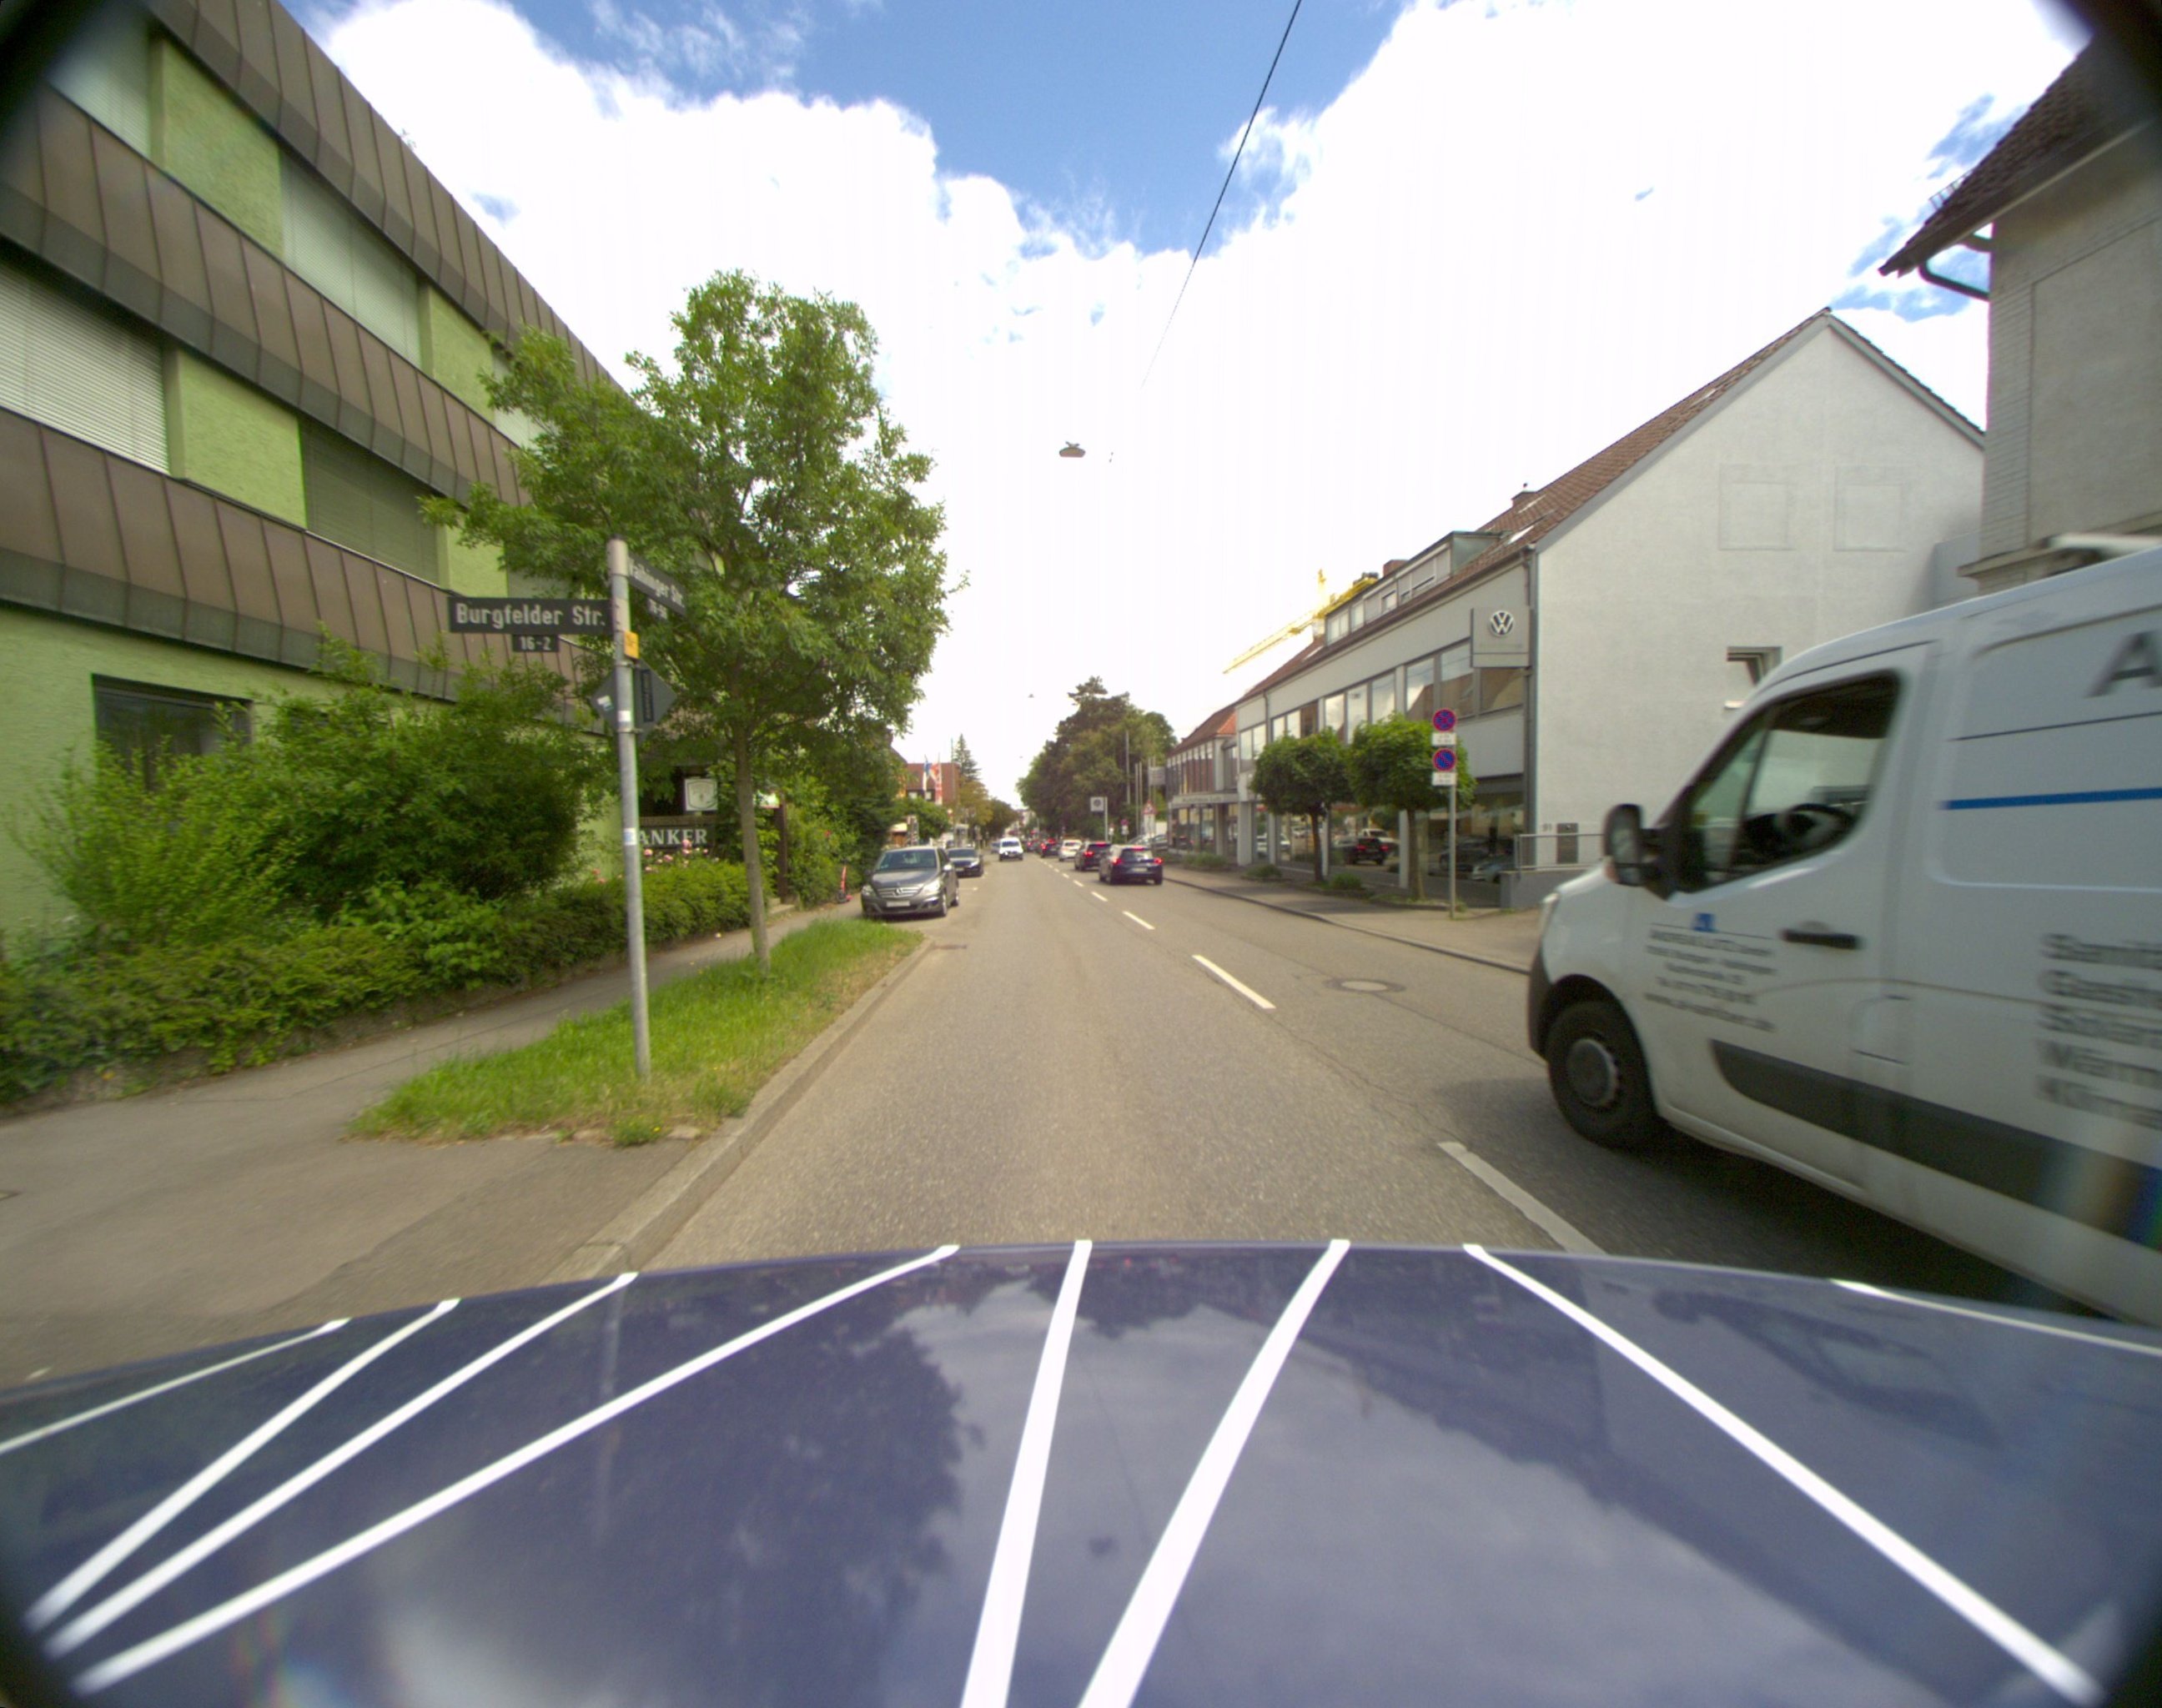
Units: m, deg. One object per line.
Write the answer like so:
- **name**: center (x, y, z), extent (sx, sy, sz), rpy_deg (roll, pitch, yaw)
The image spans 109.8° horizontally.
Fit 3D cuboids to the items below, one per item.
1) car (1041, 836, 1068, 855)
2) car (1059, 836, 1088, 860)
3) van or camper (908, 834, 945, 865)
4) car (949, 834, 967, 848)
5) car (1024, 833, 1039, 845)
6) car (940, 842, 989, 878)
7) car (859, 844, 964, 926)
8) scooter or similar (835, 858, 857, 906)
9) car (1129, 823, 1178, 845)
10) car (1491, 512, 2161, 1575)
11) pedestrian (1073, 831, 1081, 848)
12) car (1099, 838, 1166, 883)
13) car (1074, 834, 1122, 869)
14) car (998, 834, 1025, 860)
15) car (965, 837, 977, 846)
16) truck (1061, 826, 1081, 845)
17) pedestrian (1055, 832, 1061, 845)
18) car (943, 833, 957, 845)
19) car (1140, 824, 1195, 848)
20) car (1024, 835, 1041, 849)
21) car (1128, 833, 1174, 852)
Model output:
- **car**: center (-2.311, -0.742, 65.453), extent (1.837, 1.515, 4.165), rpy_deg (-1, 2, -8)
- **car**: center (-0.562, -0.472, 54.421), extent (1.695, 1.571, 3.796), rpy_deg (-1, 2, -6)
- **van or camper**: center (-11.474, -0.384, 56.580), extent (1.872, 2.021, 4.544), rpy_deg (-3, 3, -2)
- **car**: center (-15.535, -1.674, 96.076), extent (1.620, 1.587, 4.157), rpy_deg (4, 2, -2)
- **car**: center (-6.555, -2.001, 99.680), extent (1.871, 1.519, 4.524), rpy_deg (-1, 2, -5)
- **car**: center (-5.515, 0.245, 36.543), extent (1.990, 1.440, 4.747), rpy_deg (-1, 2, -5)
- **car**: center (-3.838, 0.607, 17.933), extent (1.694, 1.657, 4.460), rpy_deg (-1, 1, -3)
- **scooter or similar**: center (-6.642, 0.770, 21.476), extent (0.301, 1.297, 1.403), rpy_deg (1, 1, -5)
- **car**: center (6.111, -1.669, 64.035), extent (3.751, 1.552, 1.533), rpy_deg (-4, 2, -7)
- **car**: center (3.428, 0.425, 1.867), extent (2.068, 2.340, 5.182), rpy_deg (1, 1, 1)
- **pedestrian**: center (-0.374, -1.462, 78.356), extent (0.685, 1.727, 0.867), rpy_deg (-3, 3, -6)
- **car**: center (1.733, 0.175, 27.022), extent (1.775, 1.417, 4.105), rpy_deg (0, 2, -5)
- **car**: center (0.789, -0.181, 37.968), extent (1.781, 1.515, 4.457), rpy_deg (-1, 2, -6)
- **car**: center (-5.512, -0.614, 60.223), extent (1.966, 1.797, 4.425), rpy_deg (-3, 3, -5)
- **car**: center (-17.381, -2.008, 120.150), extent (1.790, 1.309, 4.476), rpy_deg (-1, 2, -8)
- **truck**: center (-1.426, -2.595, 103.165), extent (2.312, 2.407, 6.088), rpy_deg (-3, 3, -4)
- **pedestrian**: center (-3.516, -2.348, 116.189), extent (0.835, 1.837, 1.021), rpy_deg (-3, 3, -2)
- **car**: center (-18.243, -2.088, 105.989), extent (1.639, 1.520, 4.199), rpy_deg (2, 2, -8)
- **car**: center (6.961, -1.445, 60.979), extent (4.025, 1.621, 1.652), rpy_deg (-4, 2, -7)
- **car**: center (-5.986, -1.504, 93.258), extent (1.871, 1.608, 4.531), rpy_deg (-1, 1, -6)
- **car**: center (6.142, -1.021, 66.697), extent (3.751, 1.510, 1.727), rpy_deg (-2, 2, -7)
